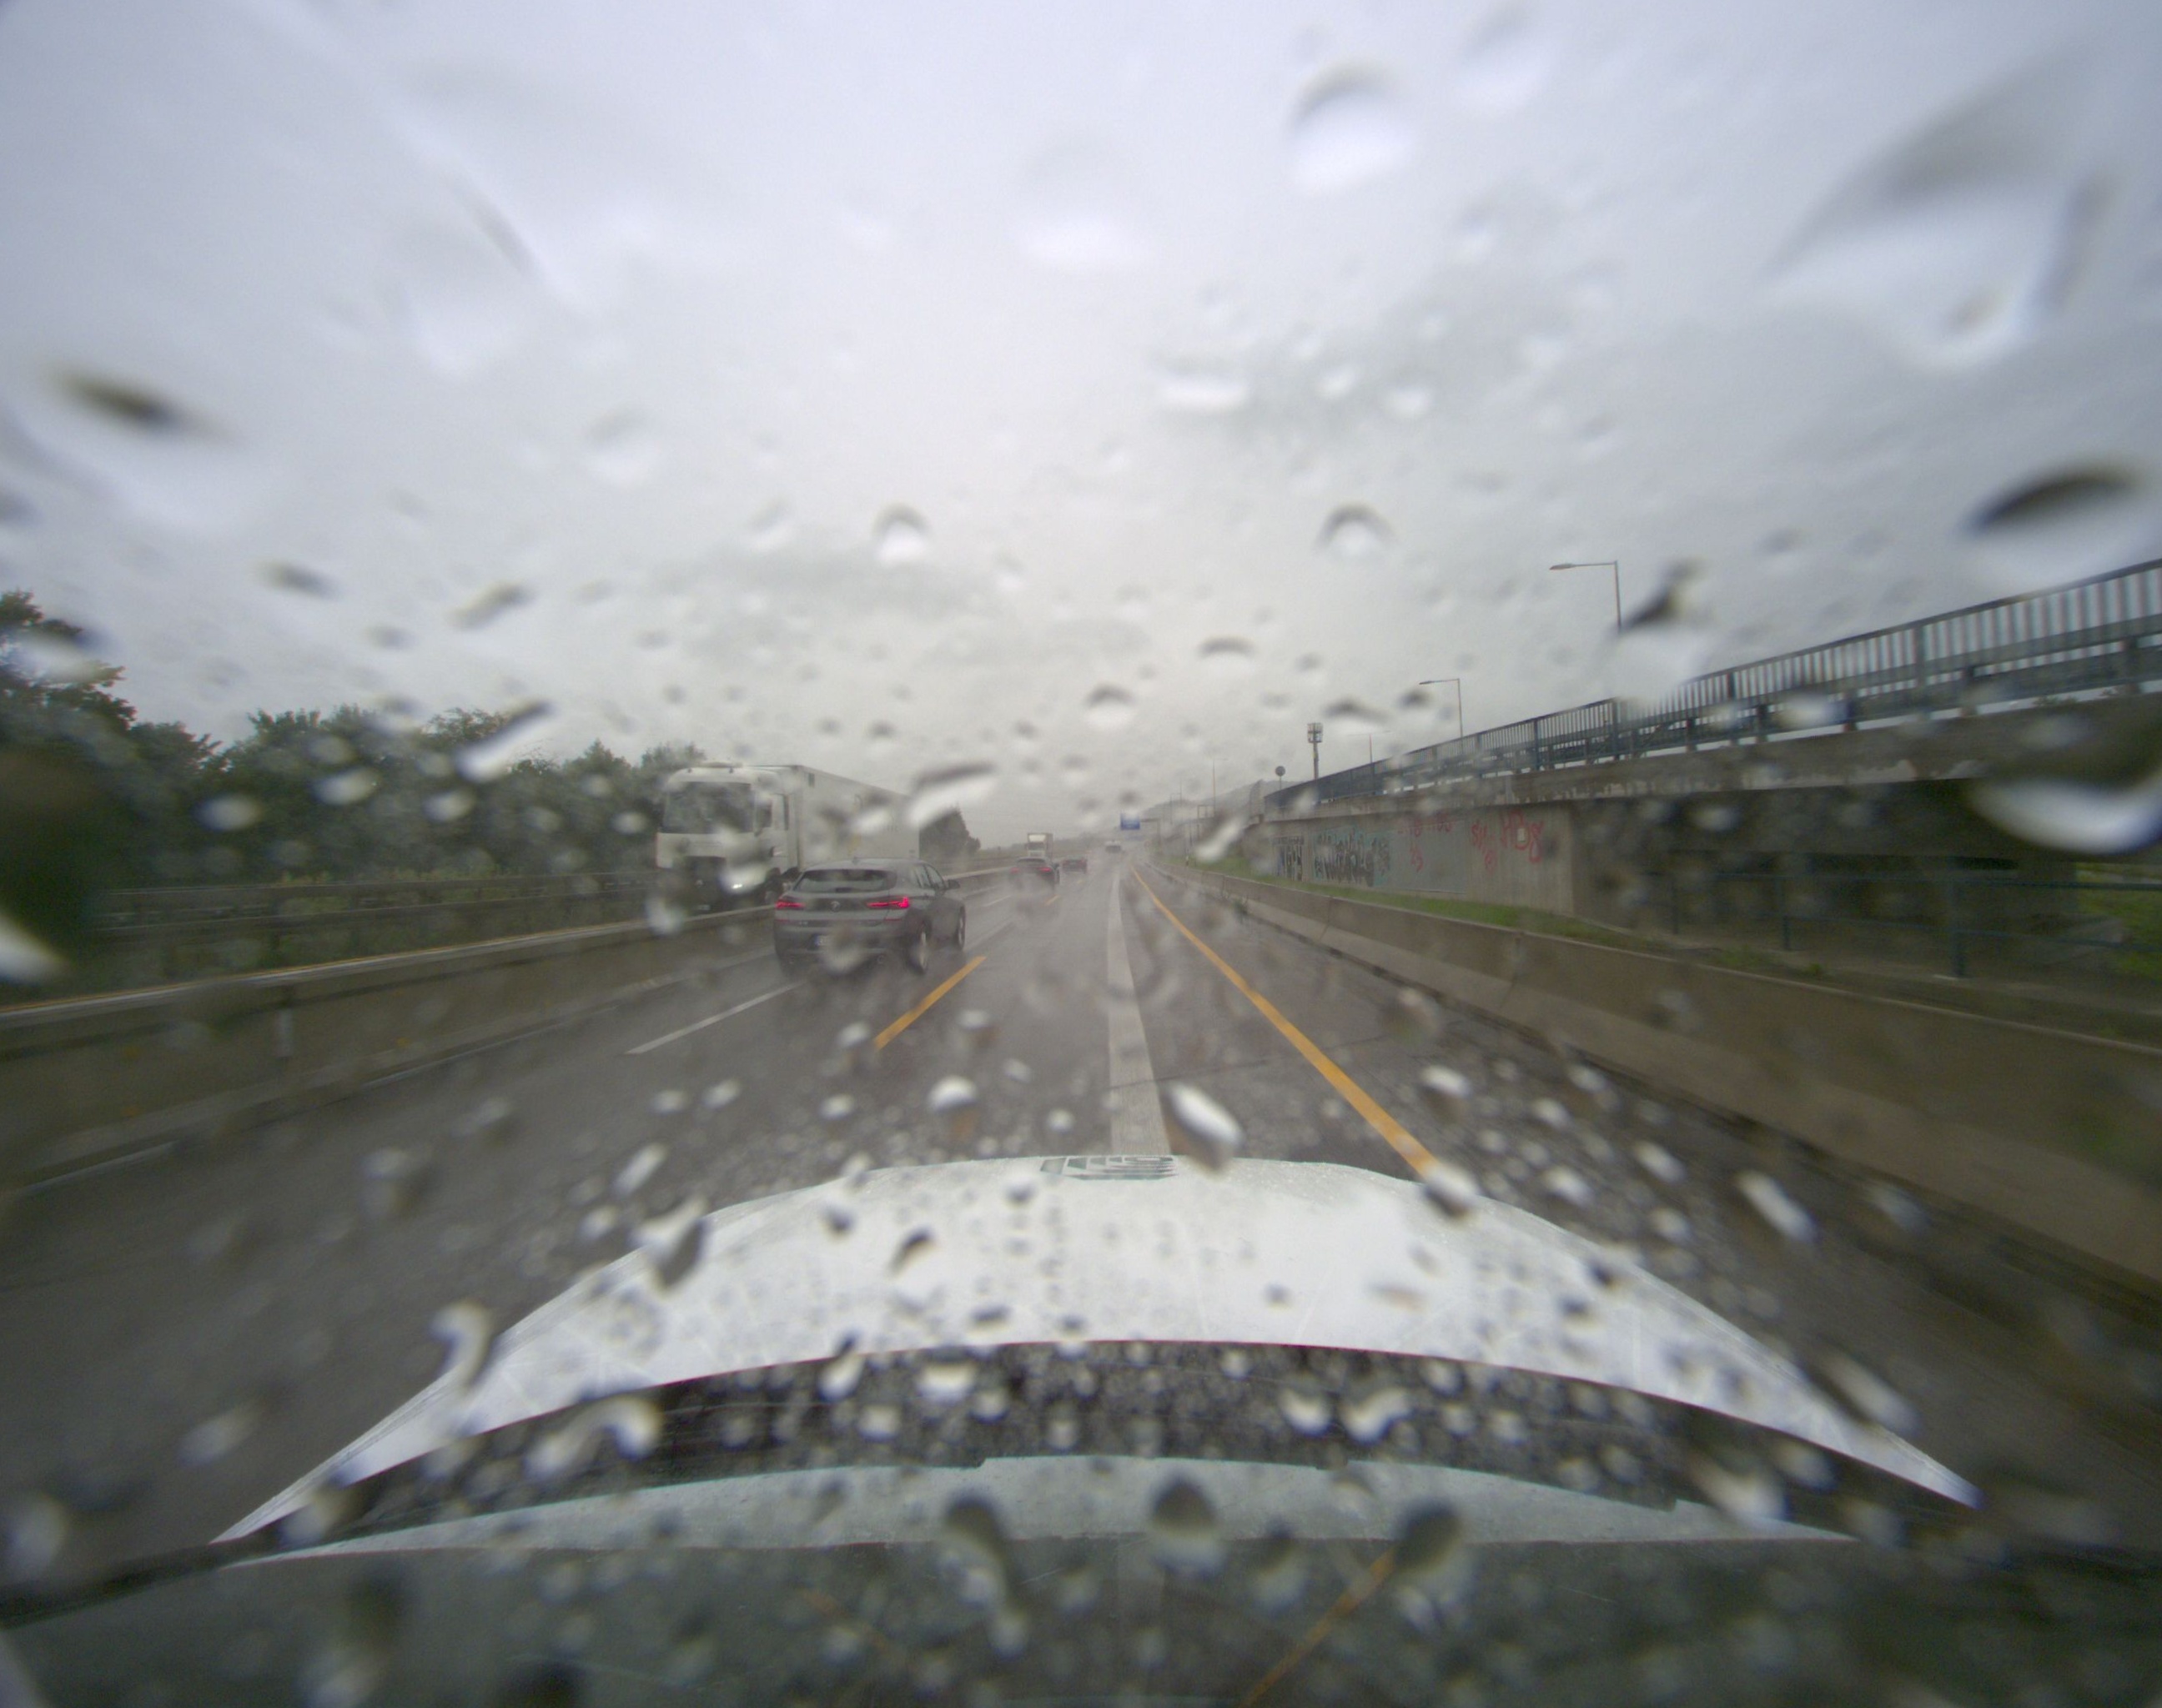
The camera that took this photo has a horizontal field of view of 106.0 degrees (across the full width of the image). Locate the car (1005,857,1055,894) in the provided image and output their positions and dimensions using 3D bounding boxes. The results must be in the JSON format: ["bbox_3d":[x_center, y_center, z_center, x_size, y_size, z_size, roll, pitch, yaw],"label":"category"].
[{"bbox_3d":[-2.146,0.894,35.491,1.838,1.491,4.261,0,-1,0],"label":"car"}]

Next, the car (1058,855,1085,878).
[{"bbox_3d":[-0.694,0.900,61.192,1.838,1.491,4.262,-3,1,0],"label":"car"}]

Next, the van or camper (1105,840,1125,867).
[{"bbox_3d":[3.513,-0.058,85.541,1.989,2.777,4.049,0,-1,0],"label":"van or camper"}]

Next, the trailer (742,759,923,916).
[{"bbox_3d":[-8.492,-0.414,29.977,2.537,4.589,12.015,0,-1,2],"label":"trailer"}]

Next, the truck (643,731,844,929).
[{"bbox_3d":[-8.824,-0.516,22.252,2.549,4.603,6.456,-1,-1,2],"label":"truck"}]

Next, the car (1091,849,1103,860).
[{"bbox_3d":[2.315,0.108,116.537,1.561,1.480,2.821,-3,-1,0],"label":"car"}]

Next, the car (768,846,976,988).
[{"bbox_3d":[-2.705,0.750,11.743,1.695,1.598,4.845,0,-1,1],"label":"car"}]

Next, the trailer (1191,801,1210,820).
[{"bbox_3d":[19.184,-6.960,130.794,1.984,2.106,13.783,-1,-1,4],"label":"trailer"}]

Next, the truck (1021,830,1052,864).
[{"bbox_3d":[-5.688,-0.774,106.218,2.993,4.166,9.837,-2,-1,3],"label":"truck"}]
